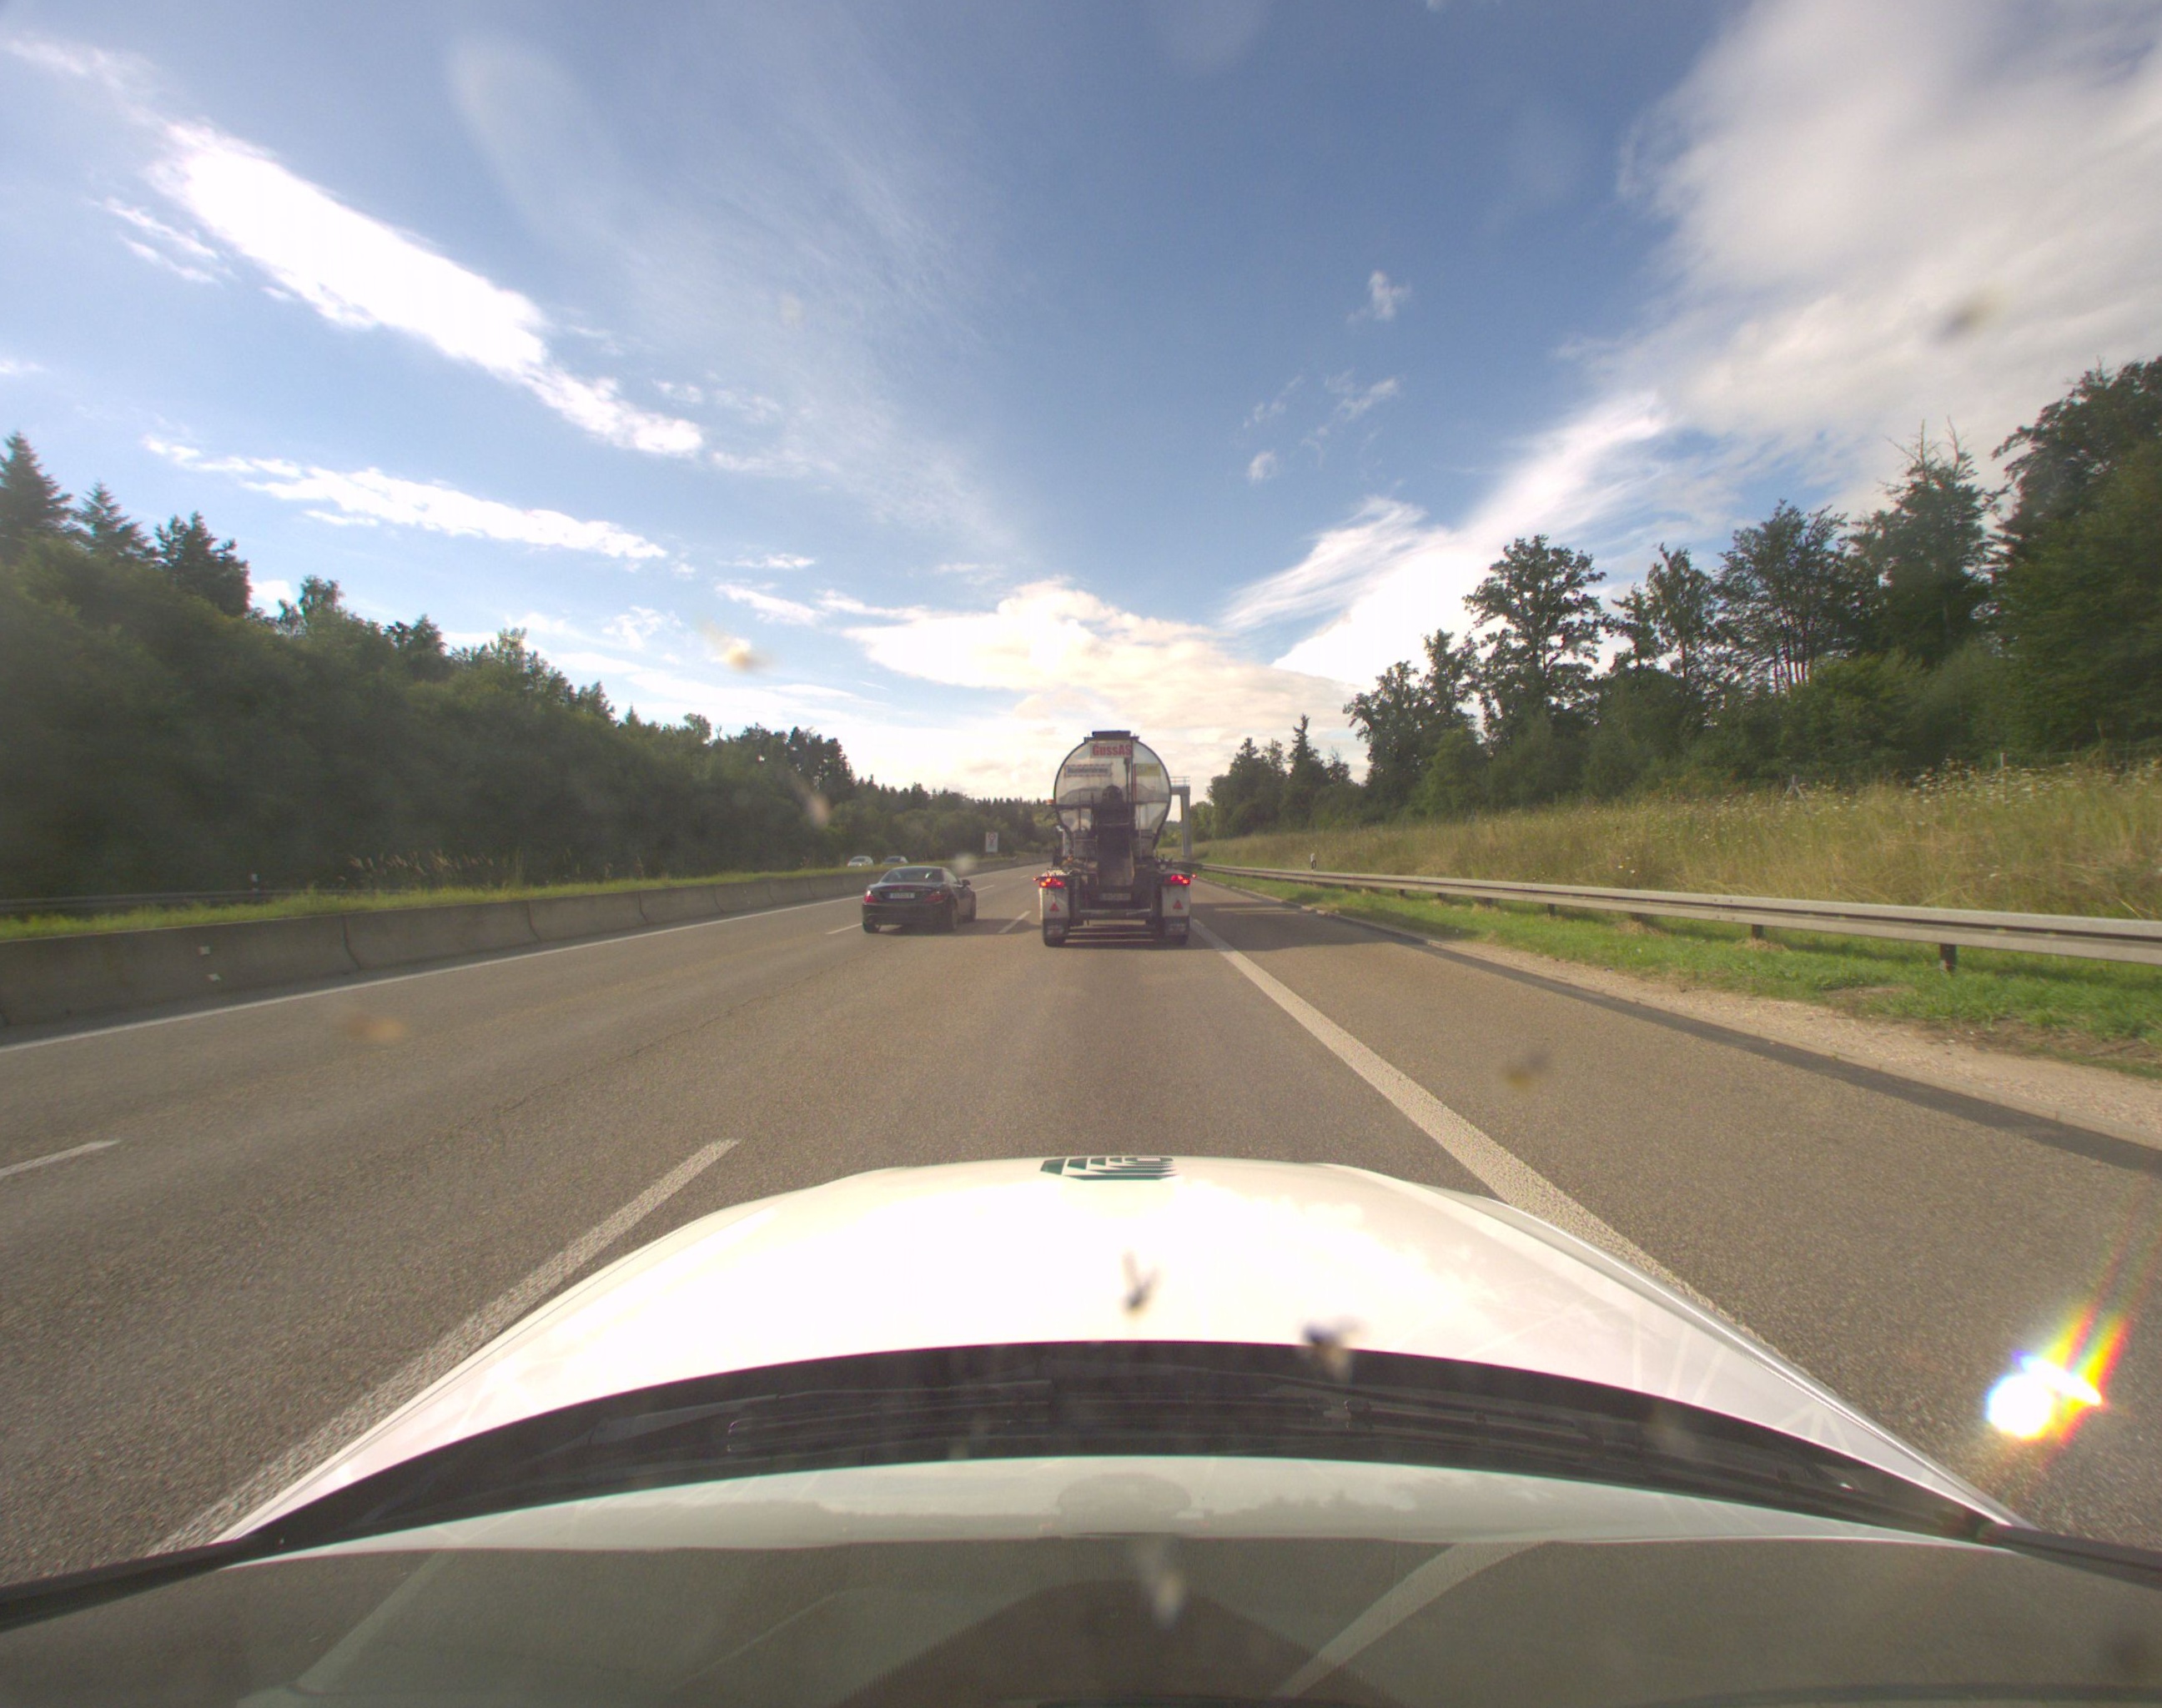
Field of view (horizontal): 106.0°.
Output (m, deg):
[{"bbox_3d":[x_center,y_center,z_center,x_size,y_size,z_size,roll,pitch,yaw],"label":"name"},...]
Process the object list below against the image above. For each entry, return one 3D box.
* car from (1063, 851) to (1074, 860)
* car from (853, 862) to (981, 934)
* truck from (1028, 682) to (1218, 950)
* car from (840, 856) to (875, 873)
[{"bbox_3d":[-2.455,0.290,157.121,1.829,1.517,4.335,-1,0,2],"label":"car"},{"bbox_3d":[-3.347,0.857,17.455,1.738,1.283,4.200,-1,0,2],"label":"car"},{"bbox_3d":[0.842,-0.609,18.387,2.901,4.157,11.274,-1,0,2],"label":"truck"},{"bbox_3d":[-20.924,0.971,76.429,1.943,1.539,4.329,-1,0,2],"label":"car"}]
